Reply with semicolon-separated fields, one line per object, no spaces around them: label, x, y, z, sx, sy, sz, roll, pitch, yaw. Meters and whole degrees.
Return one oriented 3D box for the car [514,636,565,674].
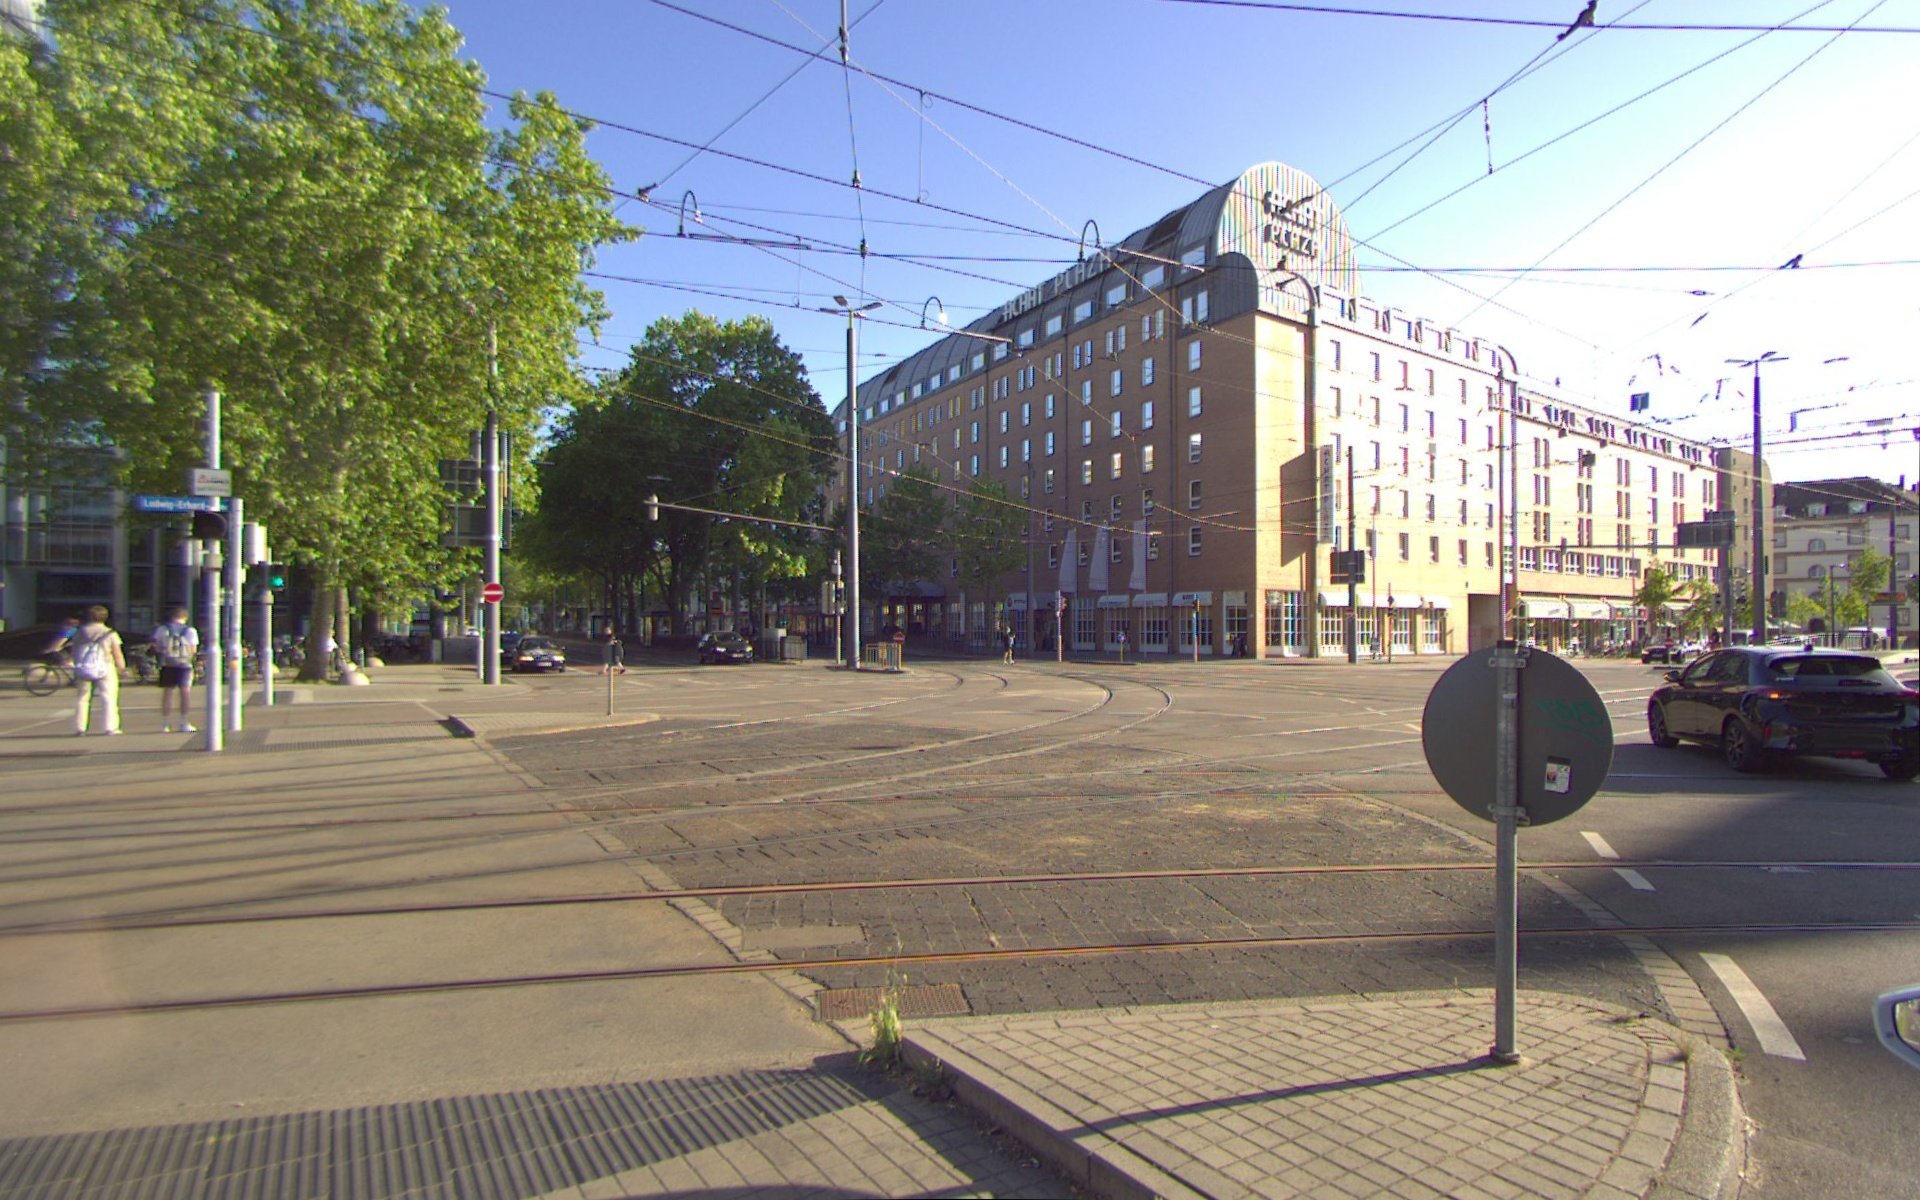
car;-16.778;2.164;39.996;1.649;1.425;3.975;1;-2;-26

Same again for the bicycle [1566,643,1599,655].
bicycle;44.206;3.456;71.376;0.476;0.856;2.028;0;-2;-25

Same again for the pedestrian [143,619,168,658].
pedestrian;-34.445;1.648;43.002;0.690;1.674;0.701;1;-1;-28

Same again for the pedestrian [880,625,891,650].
pedestrian;-5.022;2.539;67.799;0.598;1.702;0.483;-1;-1;-28

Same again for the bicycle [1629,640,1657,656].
bicycle;46.522;3.252;68.406;2.486;1.004;0.804;1;-2;-38

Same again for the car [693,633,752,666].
car;-10.749;2.205;45.313;1.650;1.433;3.972;1;-2;-28

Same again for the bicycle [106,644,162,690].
bicycle;-22.310;1.783;27.169;0.591;1.143;2.353;0;-1;-25

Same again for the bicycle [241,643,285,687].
bicycle;-19.474;1.797;28.112;0.591;1.143;2.353;0;-1;-25

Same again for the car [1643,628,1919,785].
car;10.123;1.184;12.574;1.644;1.522;3.690;2;0;19

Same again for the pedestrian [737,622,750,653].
pedestrian;-13.262;2.298;61.634;0.580;1.853;0.745;0;-1;4

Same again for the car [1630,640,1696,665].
car;38.860;2.900;55.470;4.192;1.285;1.826;1;-4;-38

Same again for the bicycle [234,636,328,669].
bicycle;-29.797;2.277;44.134;3.336;1.371;1.023;1;-2;-42

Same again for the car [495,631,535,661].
car;-21.856;2.252;49.265;1.649;1.425;3.975;1;-2;-26

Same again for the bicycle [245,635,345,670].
bicycle;-27.452;2.127;41.534;3.336;1.371;1.023;1;-2;-42

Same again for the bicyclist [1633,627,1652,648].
bicyclist;46.485;2.536;68.403;0.917;1.395;0.804;1;-2;-37

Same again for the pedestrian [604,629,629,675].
pedestrian;-12.961;1.951;37.899;0.820;1.702;0.712;-1;-1;-25

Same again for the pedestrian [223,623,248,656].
pedestrian;-36.955;2.017;51.248;0.685;1.644;0.734;0;-1;6

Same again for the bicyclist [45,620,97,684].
bicyclist;-21.169;1.225;23.929;0.744;1.480;0.689;1;-1;-26

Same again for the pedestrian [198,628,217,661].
pedestrian;-40.422;2.379;53.971;0.690;1.737;0.728;1;-1;-28

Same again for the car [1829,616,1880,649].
car;87.777;3.121;98.522;8.397;3.038;2.358;0;-1;-39

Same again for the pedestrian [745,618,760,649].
pedestrian;-12.649;2.048;61.244;0.629;1.853;0.738;1;-1;-32

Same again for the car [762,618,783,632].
car;-22.726;3.041;121.718;1.656;1.674;3.666;1;-2;-27

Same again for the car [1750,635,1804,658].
car;54.229;3.056;66.624;4.259;1.467;1.826;1;-4;-38

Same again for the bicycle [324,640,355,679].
bicycle;-19.495;1.851;31.574;0.591;1.143;2.352;0;-1;-26

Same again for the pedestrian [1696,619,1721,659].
pedestrian;33.248;1.744;44.596;0.588;1.750;0.716;1;-2;-35

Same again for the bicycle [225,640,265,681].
bicycle;-21.438;1.794;30.152;0.591;1.143;2.352;0;-1;-26

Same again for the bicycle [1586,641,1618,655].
bicycle;46.687;3.477;73.024;0.476;0.933;2.028;0;-2;-25

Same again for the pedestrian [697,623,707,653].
pedestrian;-16.127;2.373;62.814;0.582;1.824;0.743;1;-1;-12

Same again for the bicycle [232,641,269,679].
bicycle;-22.816;1.910;32.346;0.591;1.143;2.352;0;-1;-26

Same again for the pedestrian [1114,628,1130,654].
pedestrian;10.330;2.609;64.068;0.733;1.688;0.746;0;-1;-34

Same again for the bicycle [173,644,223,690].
bicycle;-20.744;1.798;27.379;0.591;1.143;2.353;0;-1;-25

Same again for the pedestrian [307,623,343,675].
pedestrian;-21.348;1.646;33.779;0.818;1.702;0.713;-1;-1;-18

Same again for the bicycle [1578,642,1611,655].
bicycle;45.575;3.481;72.144;0.476;0.856;2.028;0;-2;-25

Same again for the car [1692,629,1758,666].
car;39.839;2.486;52.251;4.073;1.859;1.824;2;-4;-40

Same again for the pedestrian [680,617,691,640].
pedestrian;-19.704;2.031;72.035;0.476;1.594;0.672;1;0;15

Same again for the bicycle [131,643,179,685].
bicycle;-23.888;1.871;29.845;0.591;1.143;2.352;0;-1;-26

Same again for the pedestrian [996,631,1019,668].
pedestrian;2.242;2.333;47.575;0.822;1.702;0.710;-1;-1;-34

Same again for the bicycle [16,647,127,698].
bicycle;-21.133;1.709;23.937;1.827;1.152;0.689;1;-1;-26

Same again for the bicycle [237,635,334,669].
bicycle;-28.835;2.212;42.981;3.336;1.371;1.023;1;-2;-42

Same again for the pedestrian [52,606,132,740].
pedestrian;-12.656;1.047;14.670;0.690;1.894;0.729;1;-1;-26

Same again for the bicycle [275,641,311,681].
bicycle;-20.711;1.875;31.215;0.591;1.143;2.352;0;-1;-26

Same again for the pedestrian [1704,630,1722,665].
pedestrian;34.612;2.163;46.169;0.574;1.598;0.643;-1;-2;41

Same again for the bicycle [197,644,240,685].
bicycle;-22.055;1.891;29.918;0.591;1.143;2.352;0;-1;-26

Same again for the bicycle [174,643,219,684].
bicycle;-22.880;1.877;30.135;0.591;1.143;2.352;0;-1;-26

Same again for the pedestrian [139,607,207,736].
pedestrian;-11.937;1.061;15.256;0.665;1.894;0.728;1;-1;-28

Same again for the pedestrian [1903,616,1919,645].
pedestrian;63.313;2.019;66.811;0.852;1.911;0.733;0;0;44
